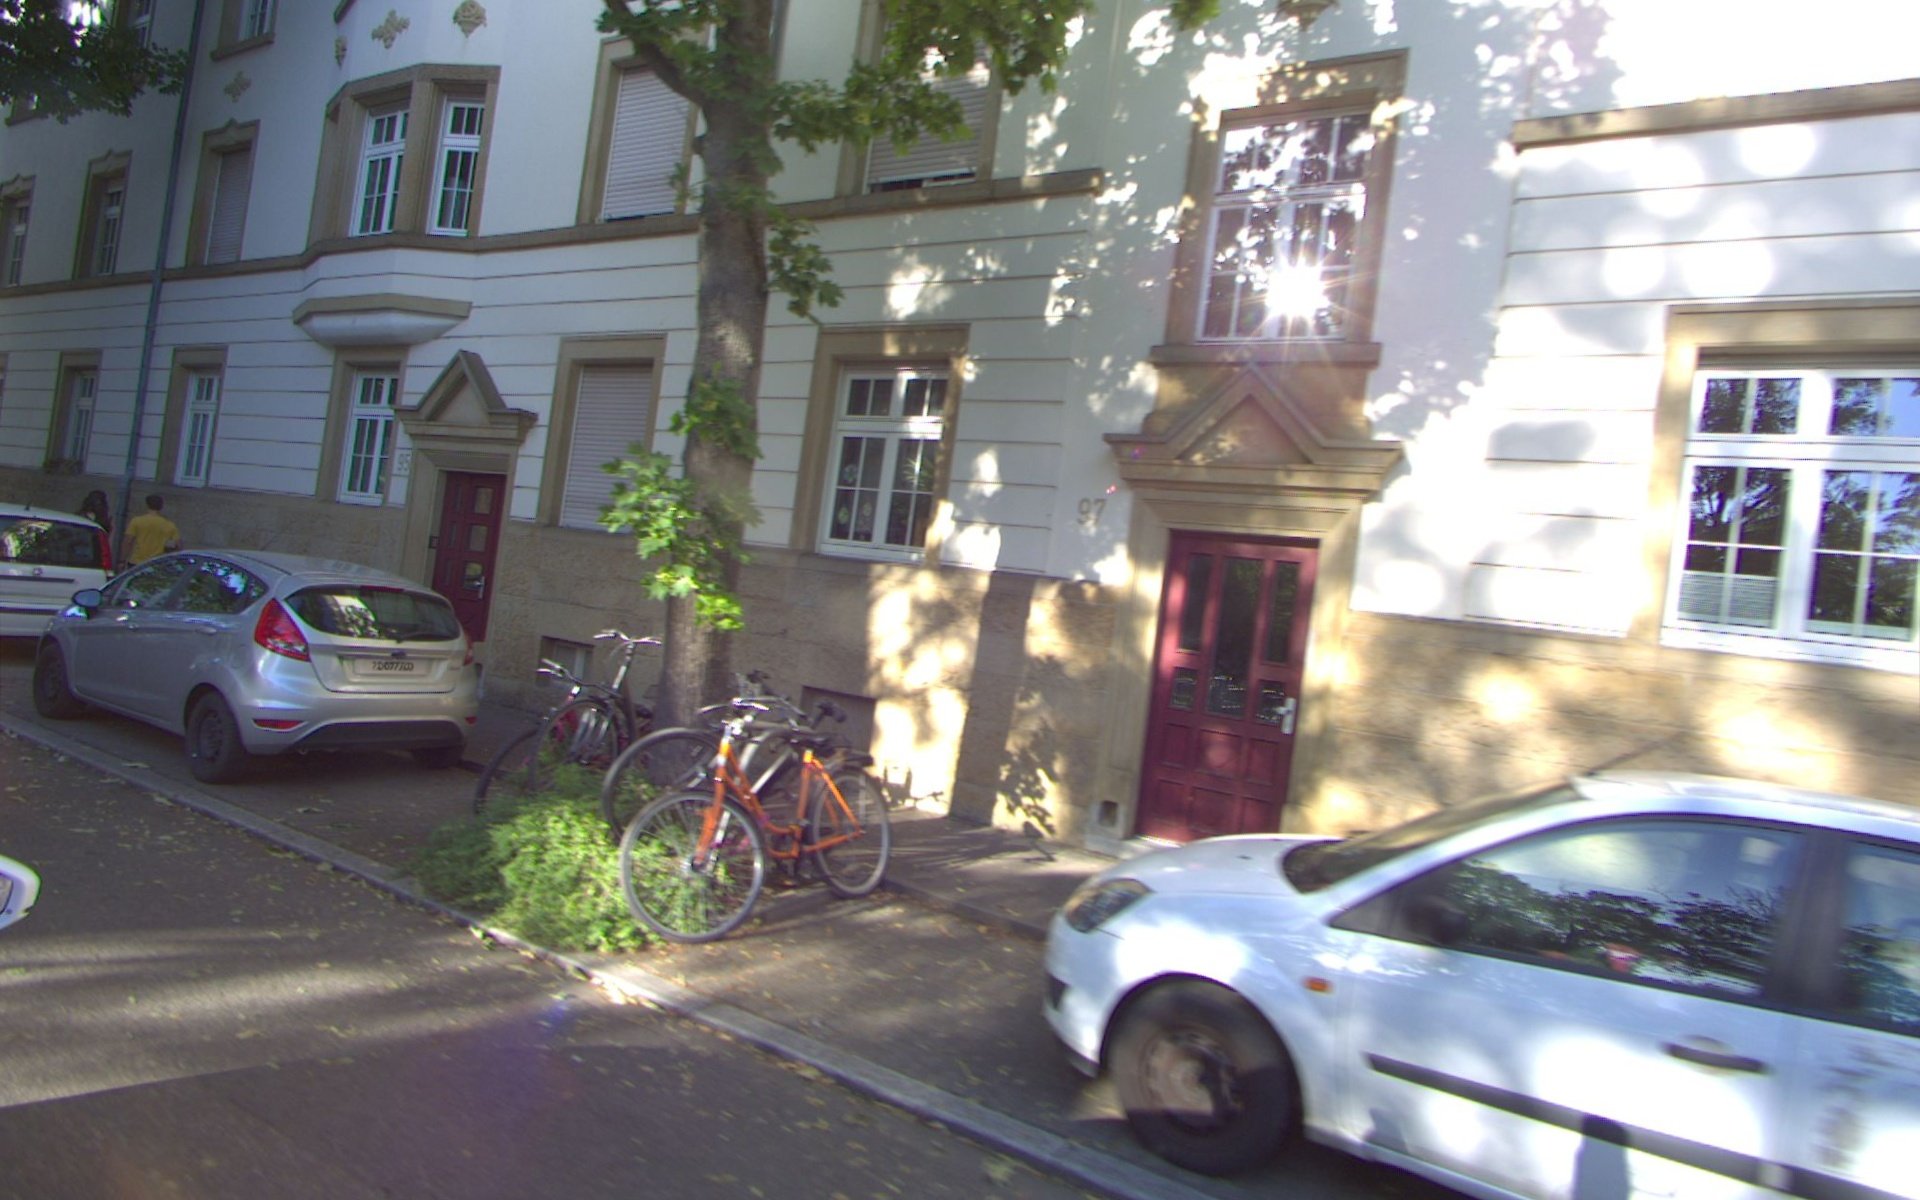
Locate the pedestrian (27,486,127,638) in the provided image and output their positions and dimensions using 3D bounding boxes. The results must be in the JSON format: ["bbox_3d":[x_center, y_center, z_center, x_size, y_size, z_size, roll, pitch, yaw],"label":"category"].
[{"bbox_3d":[-10.928,-0.472,12.449,0.863,1.755,0.521,7,0,31],"label":"pedestrian"}]

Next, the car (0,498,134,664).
[{"bbox_3d":[-10.470,-0.357,10.558,3.483,1.528,1.523,7,-1,30],"label":"car"}]

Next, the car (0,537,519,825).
[{"bbox_3d":[-5.470,0.490,7.669,4.086,1.410,1.626,7,-1,30],"label":"car"}]

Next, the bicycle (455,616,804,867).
[{"bbox_3d":[-1.961,0.812,6.313,0.747,1.244,1.972,7,0,30],"label":"bicycle"}]

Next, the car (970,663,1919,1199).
[{"bbox_3d":[2.099,1.229,3.340,3.684,1.506,1.600,7,-1,30],"label":"car"}]

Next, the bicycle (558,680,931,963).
[{"bbox_3d":[-0.970,0.989,5.123,0.589,1.086,1.972,7,0,30],"label":"bicycle"}]

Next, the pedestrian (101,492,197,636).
[{"bbox_3d":[-10.398,-0.459,12.898,0.677,1.722,0.596,7,0,31],"label":"pedestrian"}]
